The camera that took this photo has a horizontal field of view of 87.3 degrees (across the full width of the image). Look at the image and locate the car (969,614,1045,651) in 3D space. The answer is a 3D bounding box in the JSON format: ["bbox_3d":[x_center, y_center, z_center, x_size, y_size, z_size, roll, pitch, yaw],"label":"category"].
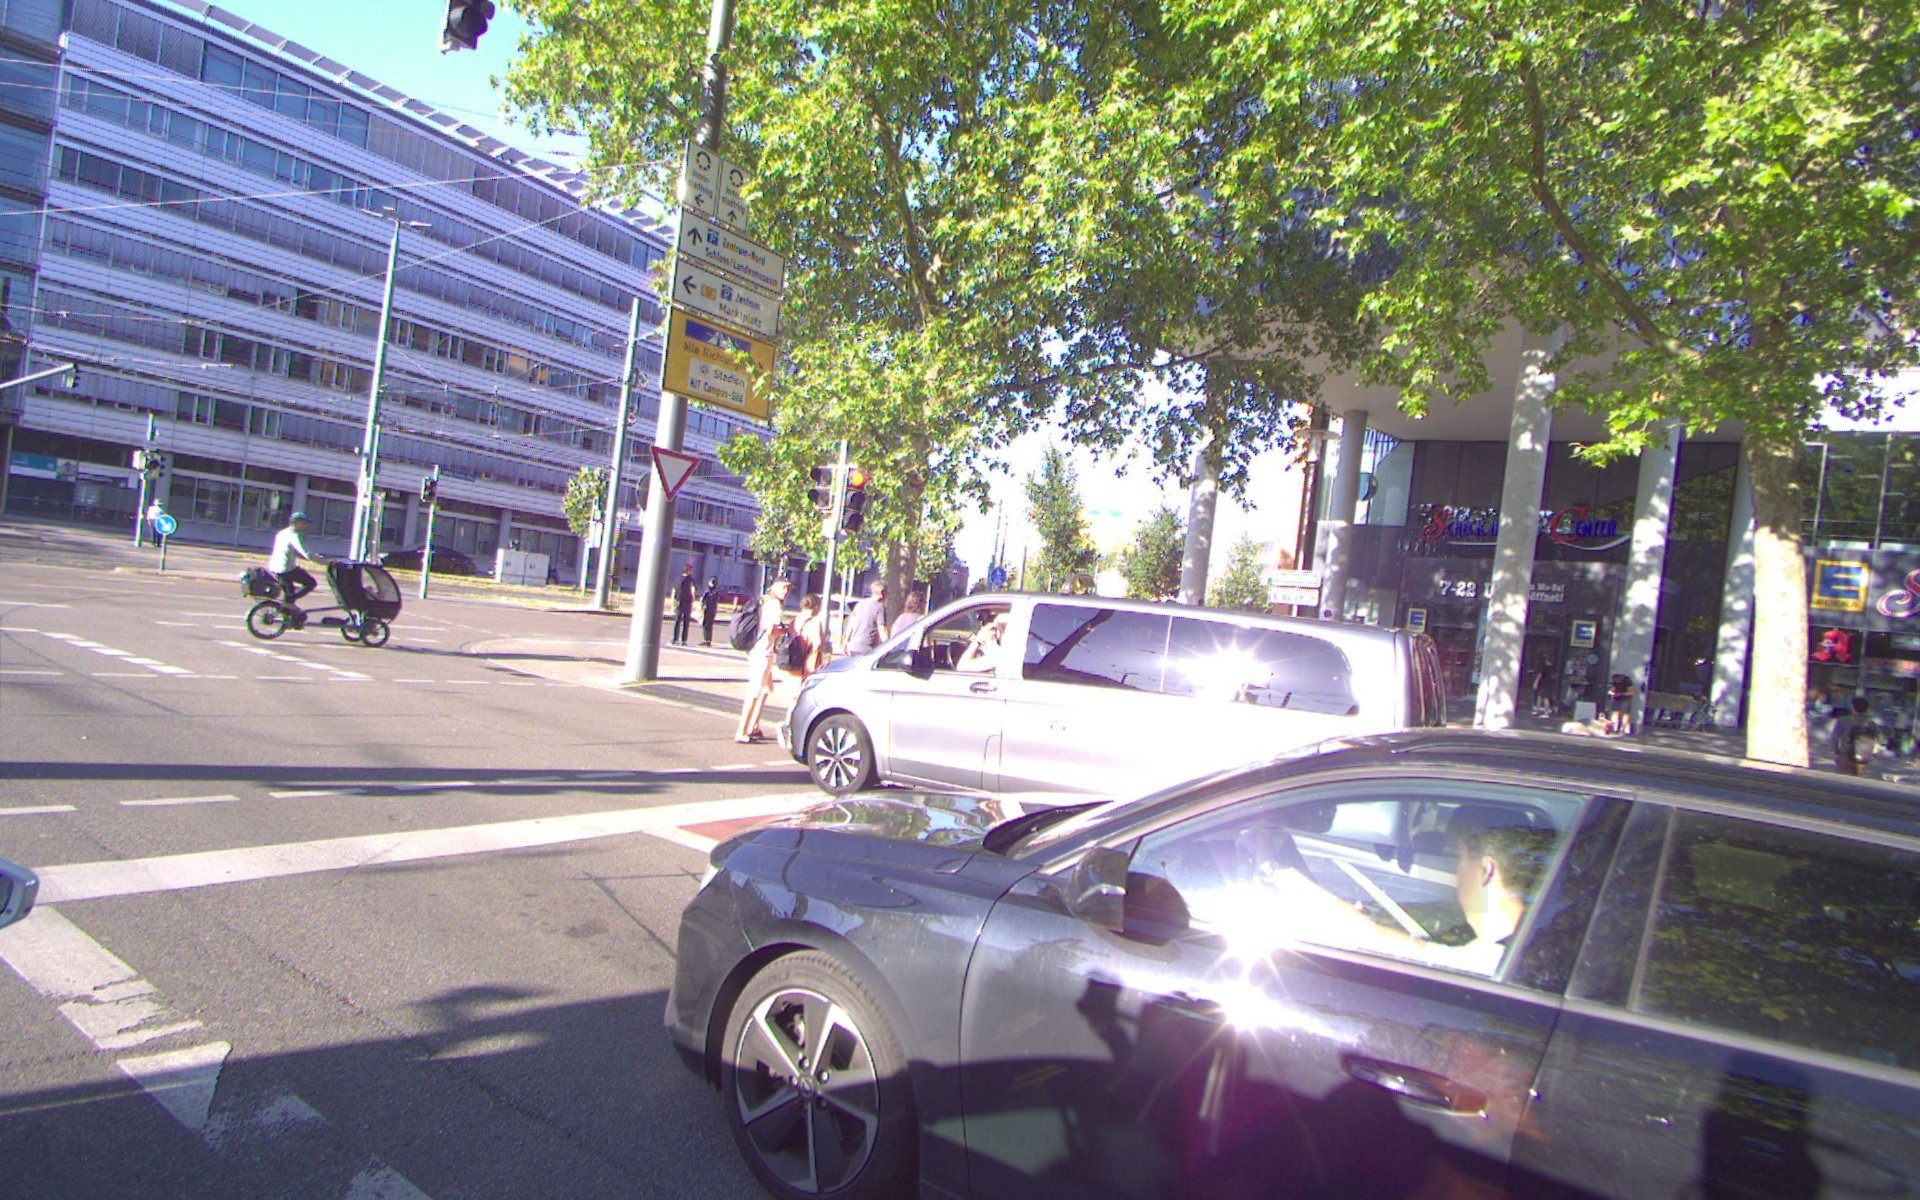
[{"bbox_3d":[2.383,1.645,50.447,1.797,1.451,3.909,7,-1,37],"label":"car"}]

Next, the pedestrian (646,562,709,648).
[{"bbox_3d":[-6.544,0.113,23.312,0.855,1.841,0.845,7,-1,39],"label":"pedestrian"}]

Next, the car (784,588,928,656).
[{"bbox_3d":[-3.368,0.768,33.525,1.968,1.748,4.838,7,-1,34],"label":"car"}]

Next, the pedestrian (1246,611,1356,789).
[{"bbox_3d":[3.799,1.084,11.178,0.795,1.808,0.873,7,1,31],"label":"pedestrian"}]

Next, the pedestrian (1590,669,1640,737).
[{"bbox_3d":[17.480,2.730,26.863,0.851,1.662,0.967,7,1,28],"label":"pedestrian"}]

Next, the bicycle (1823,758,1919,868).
[{"bbox_3d":[10.652,2.415,11.101,1.545,1.038,0.461,7,1,29],"label":"bicycle"}]

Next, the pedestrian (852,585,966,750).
[{"bbox_3d":[-0.598,0.819,12.151,0.744,1.827,1.075,7,-1,25],"label":"pedestrian"}]

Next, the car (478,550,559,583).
[{"bbox_3d":[-26.224,-1.953,59.875,1.731,1.415,3.990,7,0,33],"label":"car"}]

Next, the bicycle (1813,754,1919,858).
[{"bbox_3d":[11.177,2.490,12.076,0.393,1.038,1.305,6,1,-42],"label":"bicycle"}]

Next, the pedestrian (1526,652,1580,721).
[{"bbox_3d":[17.424,2.545,29.577,0.990,1.867,0.844,6,1,-33],"label":"pedestrian"}]

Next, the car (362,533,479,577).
[{"bbox_3d":[-24.313,-2.004,45.499,1.768,1.409,4.241,7,0,36],"label":"car"}]

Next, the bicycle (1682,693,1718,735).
[{"bbox_3d":[22.501,3.443,30.568,0.709,1.142,1.912,7,0,39],"label":"bicycle"}]

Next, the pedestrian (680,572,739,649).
[{"bbox_3d":[-6.000,0.260,24.073,0.855,1.701,0.845,7,-1,39],"label":"pedestrian"}]

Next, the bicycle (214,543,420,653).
[{"bbox_3d":[-9.194,0.004,14.461,1.057,1.241,2.157,8,-1,39],"label":"bicycle"}]

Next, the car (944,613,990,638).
[{"bbox_3d":[0.632,2.163,83.662,1.966,1.682,3.992,7,0,31],"label":"car"}]

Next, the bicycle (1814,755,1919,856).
[{"bbox_3d":[11.509,2.552,12.441,0.393,1.038,1.305,6,1,-42],"label":"bicycle"}]

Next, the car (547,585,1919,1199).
[{"bbox_3d":[1.178,0.978,2.539,4.274,1.441,1.826,7,-2,32],"label":"car"}]

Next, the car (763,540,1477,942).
[{"bbox_3d":[1.098,0.835,8.004,5.053,1.988,1.997,7,-2,32],"label":"car"}]

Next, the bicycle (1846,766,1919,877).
[{"bbox_3d":[10.417,2.415,10.535,1.545,1.038,0.461,7,1,29],"label":"bicycle"}]

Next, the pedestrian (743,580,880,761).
[{"bbox_3d":[-1.522,0.727,10.446,0.744,1.701,1.076,7,-1,25],"label":"pedestrian"}]

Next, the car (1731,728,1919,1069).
[{"bbox_3d":[6.418,1.714,4.712,4.147,1.482,1.767,7,0,32],"label":"car"}]

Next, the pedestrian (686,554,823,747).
[{"bbox_3d":[-2.170,0.543,10.759,0.725,1.893,1.076,7,-1,25],"label":"pedestrian"}]

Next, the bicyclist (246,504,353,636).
[{"bbox_3d":[-9.307,-0.409,14.185,0.681,1.700,0.904,7,-1,39],"label":"bicyclist"}]

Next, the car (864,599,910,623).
[{"bbox_3d":[-6.307,0.959,86.990,1.731,1.631,3.990,7,0,33],"label":"car"}]

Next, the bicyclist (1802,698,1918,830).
[{"bbox_3d":[13.463,2.434,15.072,0.740,1.790,0.850,6,1,-10],"label":"bicyclist"}]

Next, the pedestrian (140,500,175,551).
[{"bbox_3d":[-28.738,-2.679,36.007,0.549,1.701,0.719,7,-1,39],"label":"pedestrian"}]

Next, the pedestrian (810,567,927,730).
[{"bbox_3d":[-1.154,0.633,12.893,0.818,1.916,1.149,7,-1,25],"label":"pedestrian"}]

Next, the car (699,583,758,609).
[{"bbox_3d":[-16.720,-0.281,72.861,1.731,1.415,3.990,7,0,33],"label":"car"}]

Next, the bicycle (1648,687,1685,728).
[{"bbox_3d":[21.833,3.322,31.088,0.709,1.142,1.912,7,0,39],"label":"bicycle"}]
